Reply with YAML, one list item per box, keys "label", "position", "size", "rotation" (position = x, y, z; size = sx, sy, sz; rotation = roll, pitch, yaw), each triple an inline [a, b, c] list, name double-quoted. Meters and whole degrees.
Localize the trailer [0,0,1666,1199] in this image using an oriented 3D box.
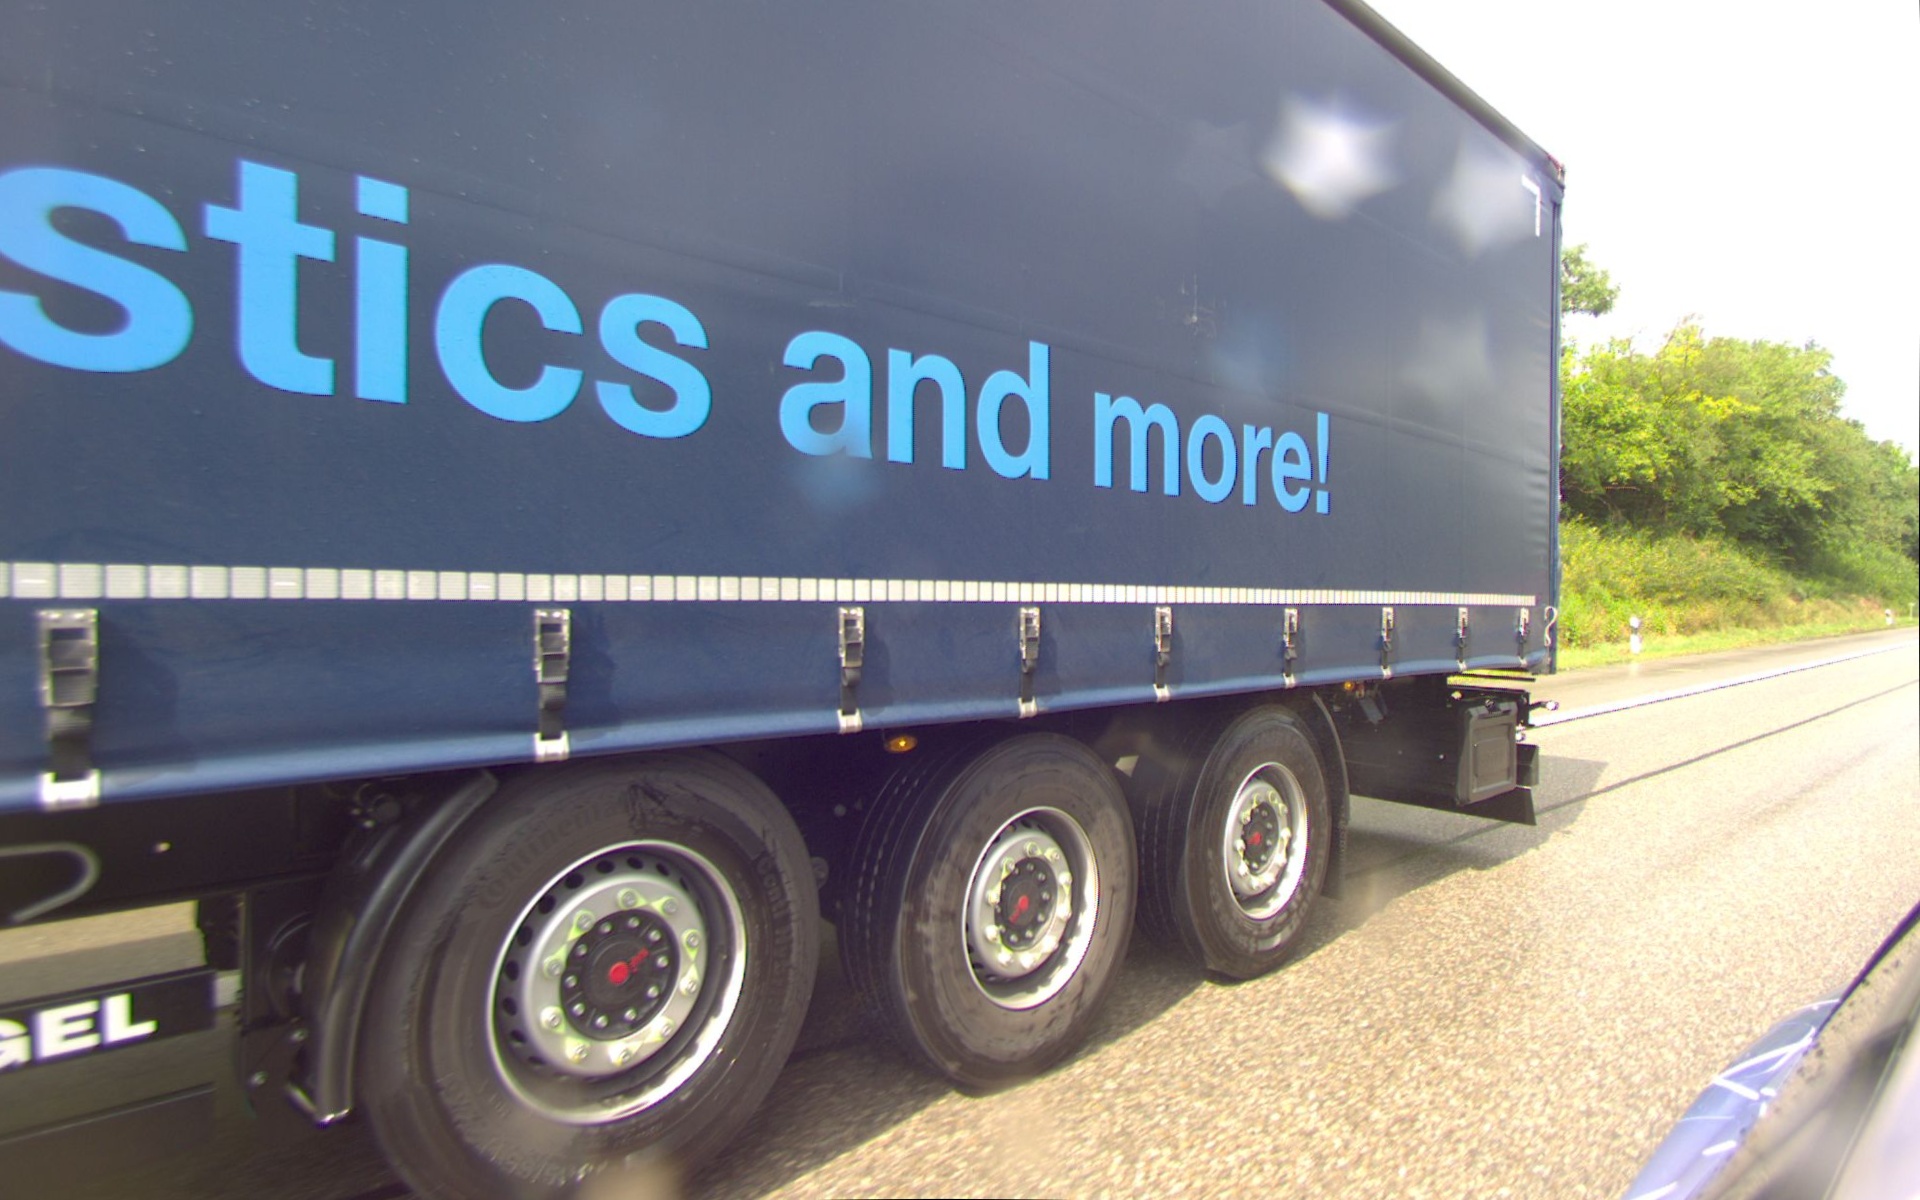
- label: "trailer"
  position: [-1.620, -0.656, 2.908]
  size: [13.818, 4.046, 2.639]
  rotation: [-1, 0, -41]
